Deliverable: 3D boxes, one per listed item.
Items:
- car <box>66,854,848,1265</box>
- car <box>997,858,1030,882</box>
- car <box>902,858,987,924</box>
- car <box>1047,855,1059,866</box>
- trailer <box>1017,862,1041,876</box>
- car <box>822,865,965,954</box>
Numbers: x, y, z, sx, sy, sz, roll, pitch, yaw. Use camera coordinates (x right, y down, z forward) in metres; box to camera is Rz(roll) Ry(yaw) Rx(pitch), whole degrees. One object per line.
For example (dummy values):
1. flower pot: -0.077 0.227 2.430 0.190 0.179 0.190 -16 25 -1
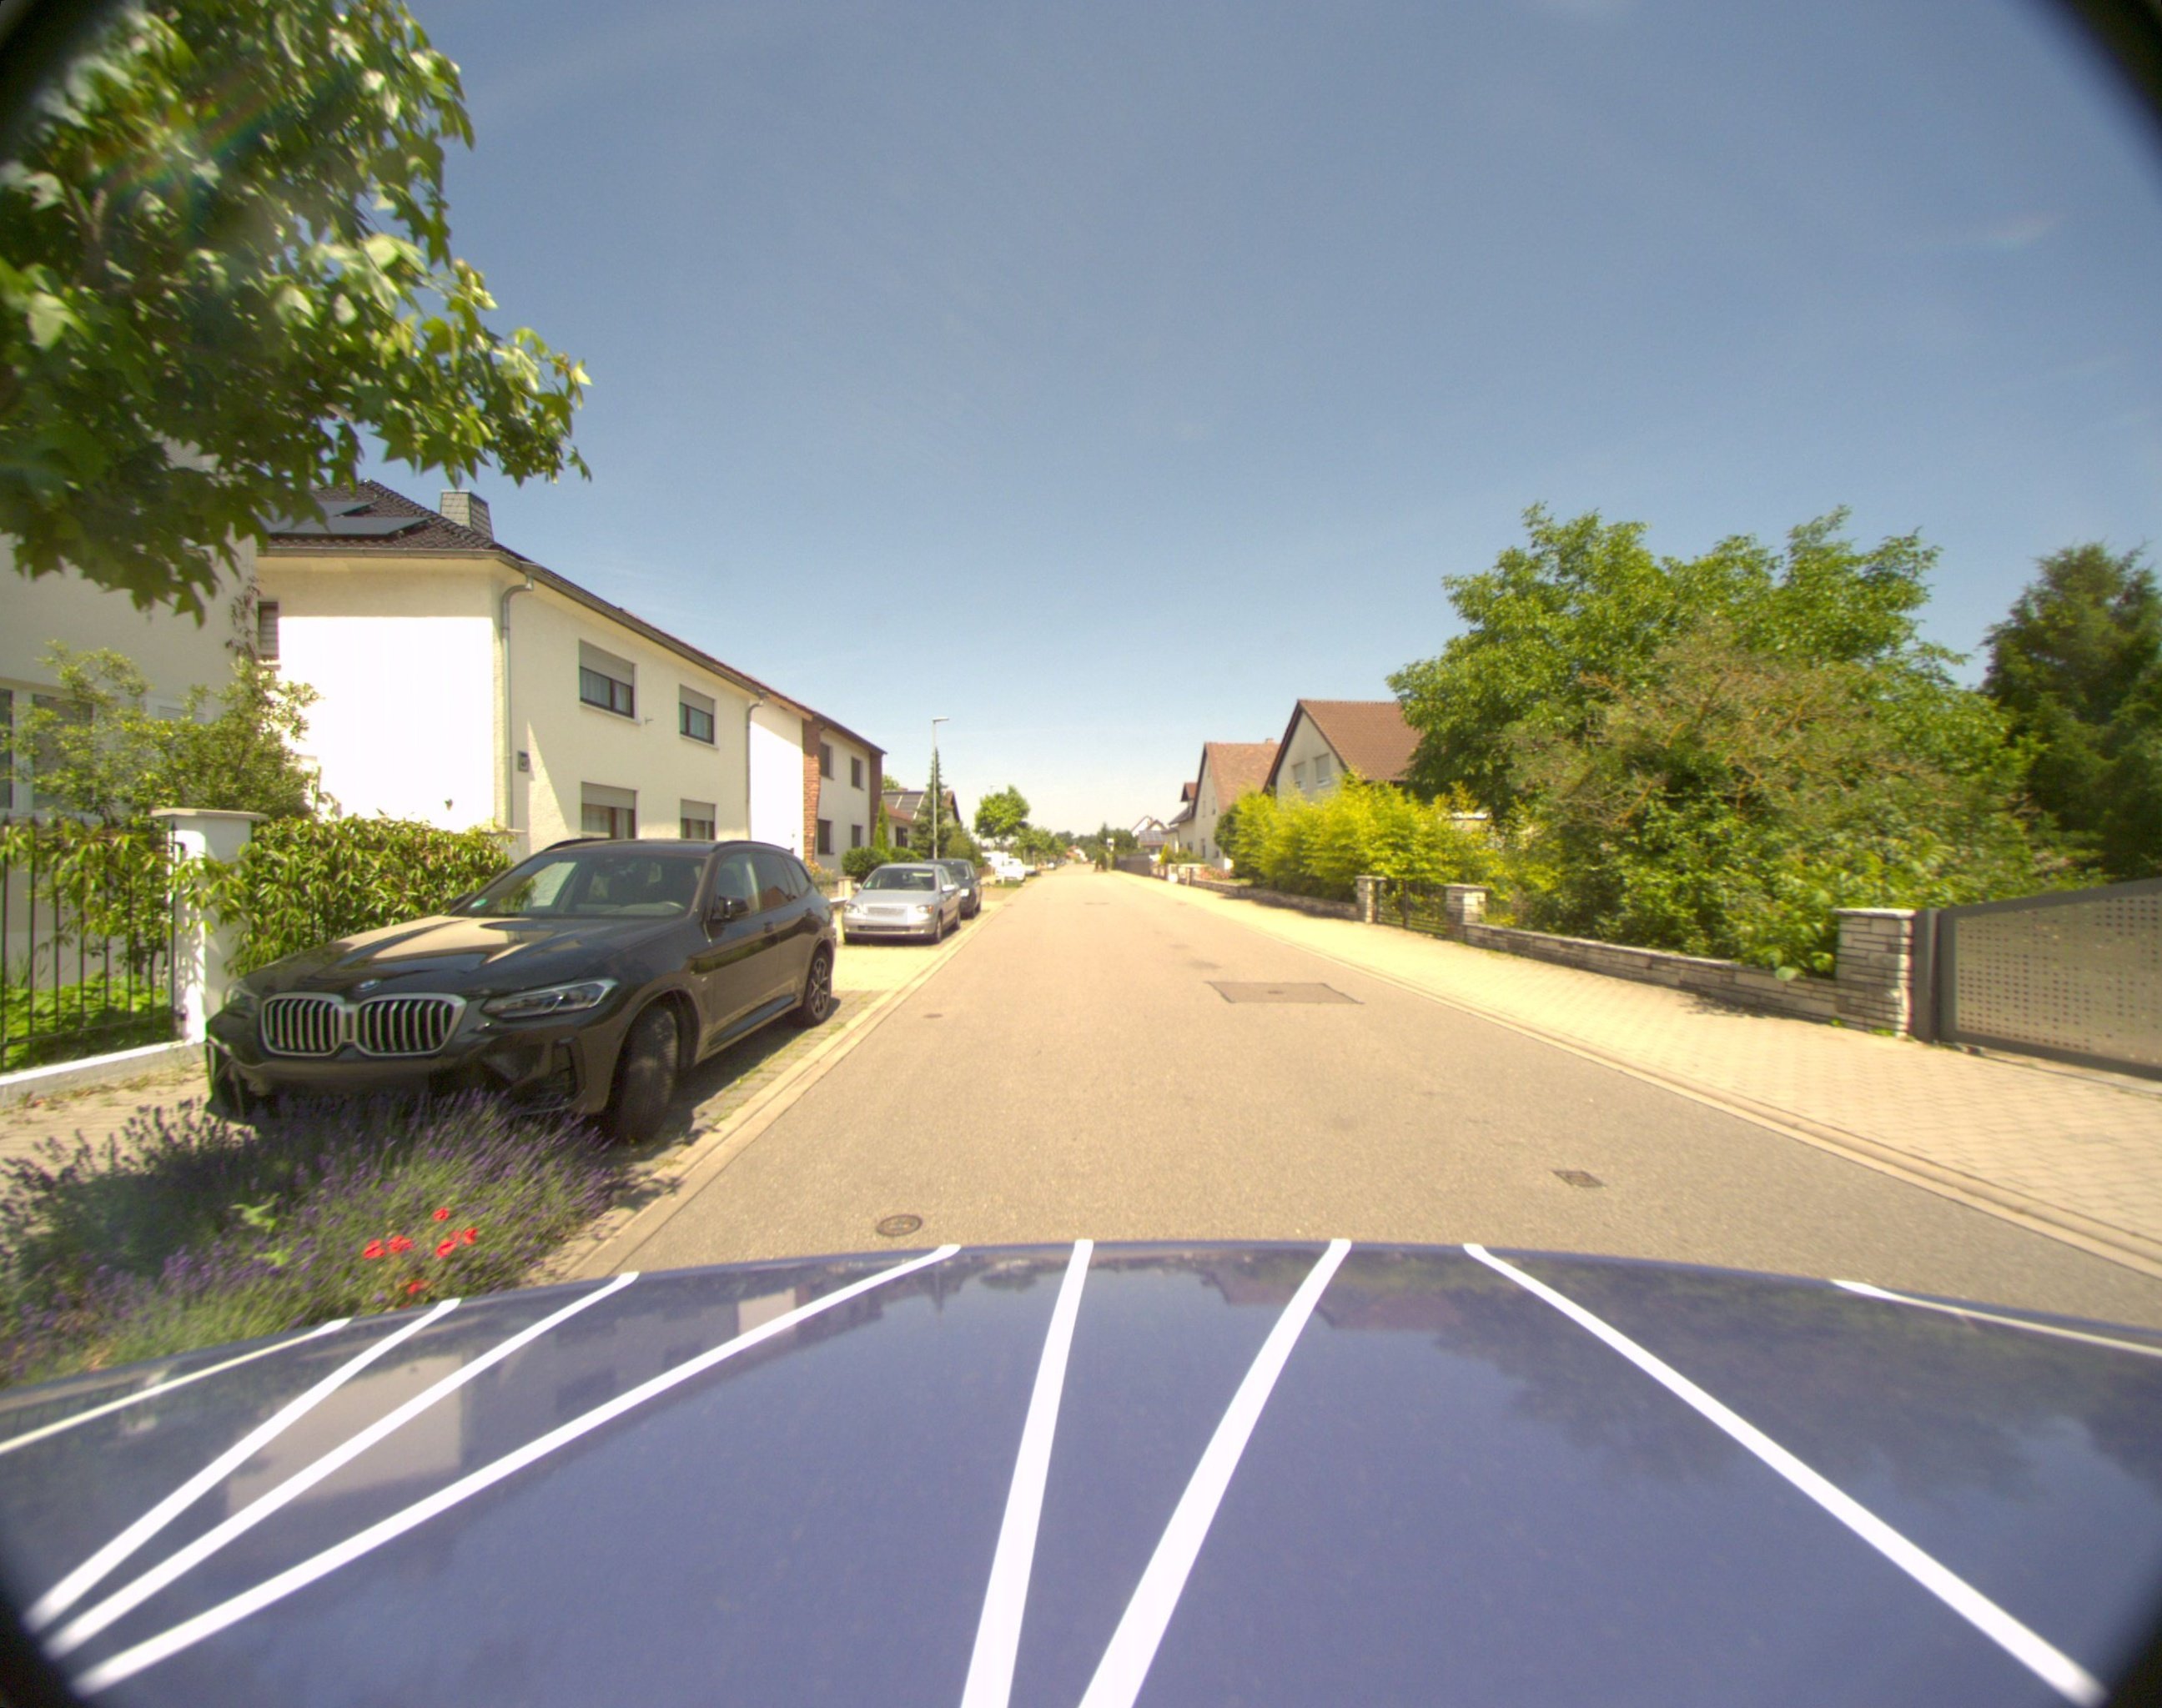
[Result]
1. car: -3.225 0.852 5.370 1.819 1.646 4.564 -1 0 -1
2. car: -4.184 0.957 47.603 1.819 1.412 3.867 -1 0 -2
3. car: -3.532 0.900 20.349 1.746 1.524 4.447 -1 0 -4
4. car: -4.312 0.930 116.546 1.597 1.630 3.803 -1 0 2
5. trailer: -4.250 1.229 62.501 1.792 1.052 2.898 -1 0 0
6. car: -3.424 0.949 14.671 1.819 1.412 4.092 -1 0 -1
